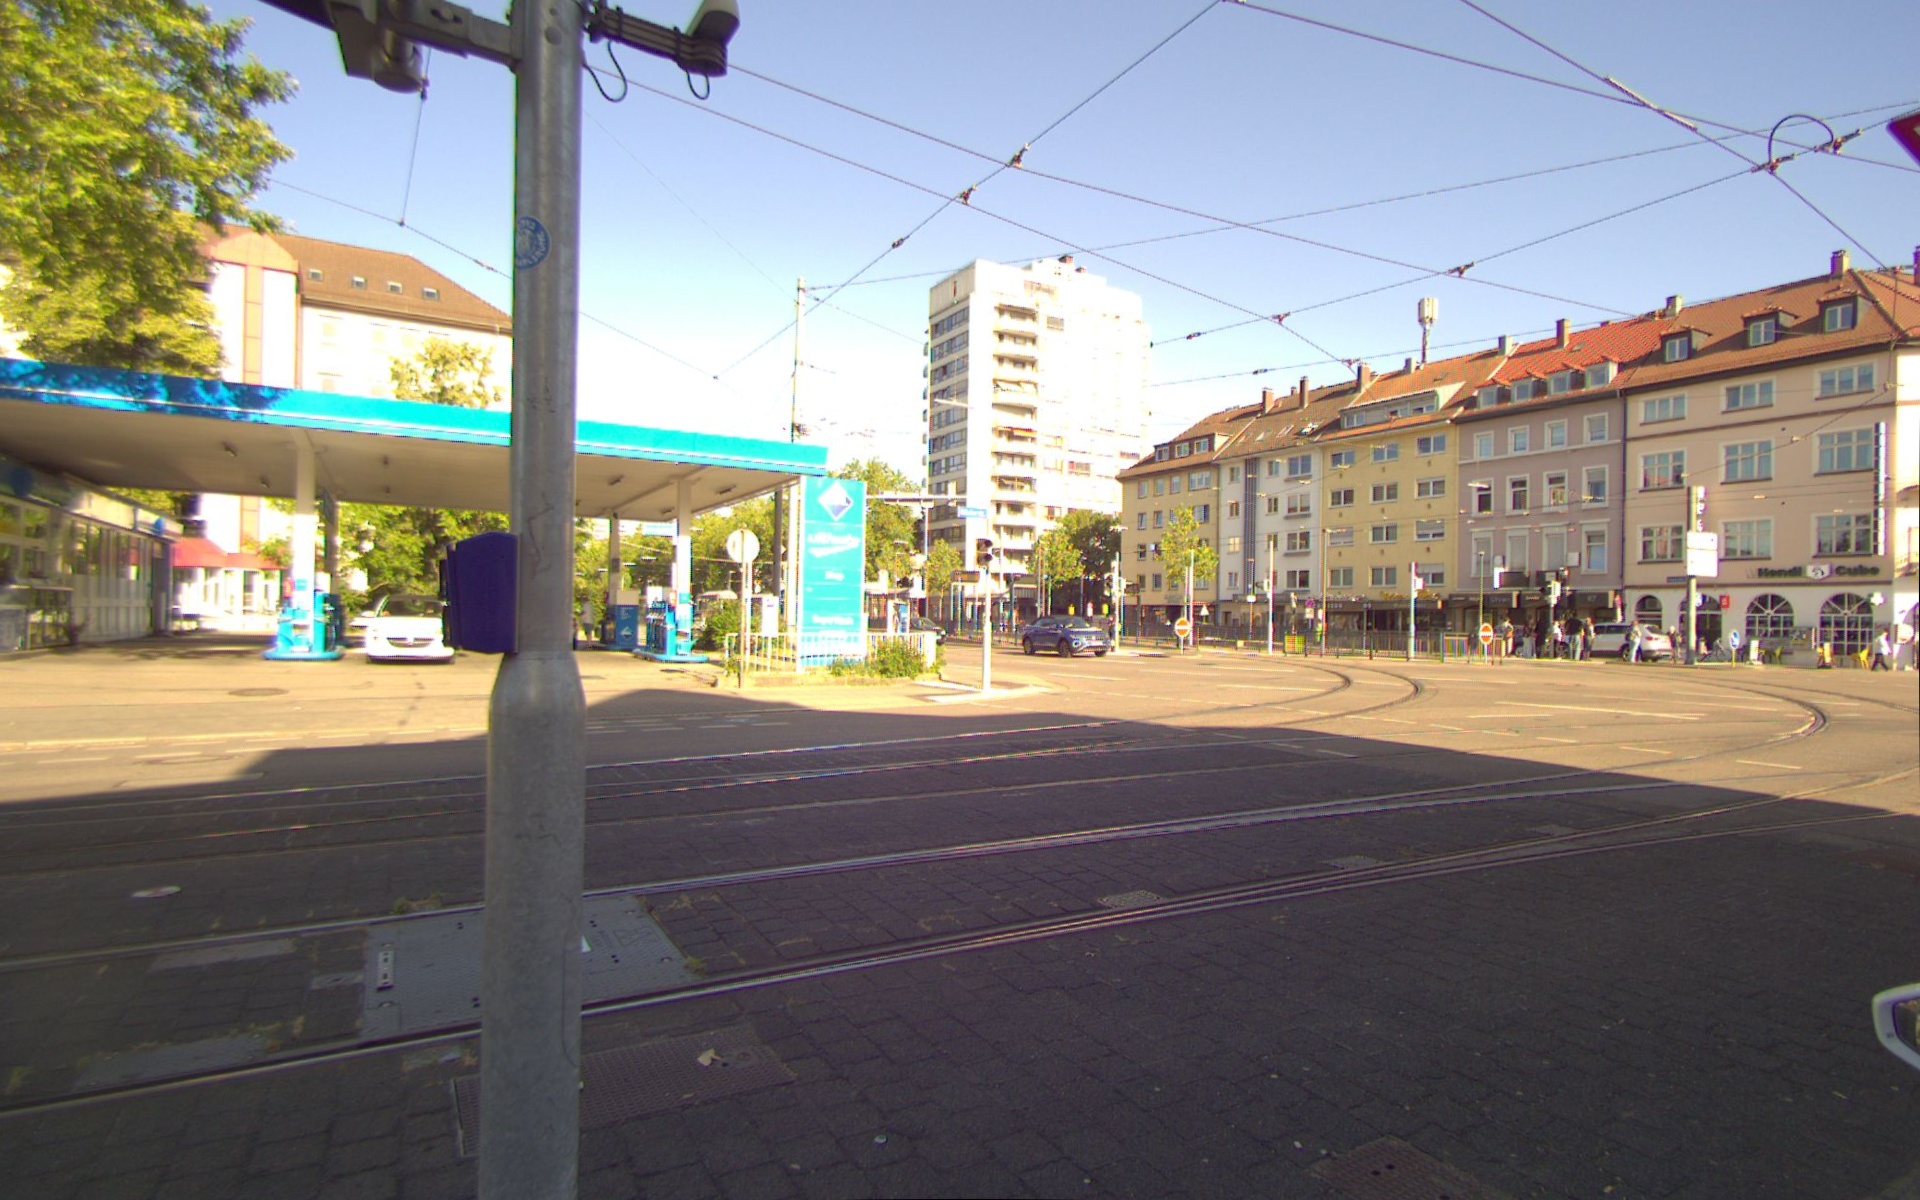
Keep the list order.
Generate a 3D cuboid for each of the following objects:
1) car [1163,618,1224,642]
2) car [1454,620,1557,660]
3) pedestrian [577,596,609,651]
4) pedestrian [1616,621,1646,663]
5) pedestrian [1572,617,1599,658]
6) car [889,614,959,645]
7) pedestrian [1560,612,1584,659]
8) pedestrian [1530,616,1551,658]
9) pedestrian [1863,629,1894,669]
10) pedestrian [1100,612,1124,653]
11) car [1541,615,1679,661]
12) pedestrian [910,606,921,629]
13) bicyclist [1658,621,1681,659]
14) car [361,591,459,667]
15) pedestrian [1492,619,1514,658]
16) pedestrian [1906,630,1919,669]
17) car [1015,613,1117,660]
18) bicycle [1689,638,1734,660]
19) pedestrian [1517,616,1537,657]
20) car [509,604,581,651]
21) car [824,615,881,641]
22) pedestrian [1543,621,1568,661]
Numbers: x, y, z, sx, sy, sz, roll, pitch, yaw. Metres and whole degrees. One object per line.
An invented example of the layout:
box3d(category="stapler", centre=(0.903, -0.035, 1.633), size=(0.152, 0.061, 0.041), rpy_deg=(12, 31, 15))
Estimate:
box3d(category="car", centre=(15.210, 1.944, 65.610), size=(1.680, 1.421, 3.769), rpy_deg=(2, 0, -31))
box3d(category="car", centre=(27.265, 1.955, 50.304), size=(1.797, 1.797, 4.208), rpy_deg=(2, 0, -30))
box3d(category="pedestrian", centre=(-11.753, 0.755, 32.135), size=(0.838, 1.724, 0.644), rpy_deg=(2, -3, -31))
box3d(category="pedestrian", centre=(26.420, 1.634, 39.573), size=(0.805, 1.615, 0.665), rpy_deg=(2, 0, -30))
box3d(category="pedestrian", centre=(25.585, 1.538, 41.090), size=(0.831, 1.670, 0.579), rpy_deg=(2, 0, -30))
box3d(category="car", centre=(-1.842, 1.455, 50.298), size=(1.811, 1.422, 3.965), rpy_deg=(1, -1, -32))
box3d(category="pedestrian", centre=(24.706, 1.439, 40.567), size=(0.669, 1.847, 0.524), rpy_deg=(2, 0, -30))
box3d(category="pedestrian", centre=(23.774, 1.515, 41.132), size=(0.492, 1.670, 0.520), rpy_deg=(2, 0, -30))
box3d(category="pedestrian", centre=(39.480, 2.093, 43.181), size=(0.778, 1.664, 0.569), rpy_deg=(2, 0, -6))
box3d(category="pedestrian", centre=(6.207, 1.325, 41.063), size=(0.753, 1.631, 0.611), rpy_deg=(2, 0, -18))
box3d(category="car", centre=(27.868, 1.593, 43.239), size=(1.818, 1.757, 4.643), rpy_deg=(2, 0, -35))
box3d(category="pedestrian", centre=(-4.161, 1.623, 93.235), size=(0.729, 2.127, 0.880), rpy_deg=(2, 0, -21))
box3d(category="bicyclist", centre=(33.968, 1.911, 48.099), size=(0.606, 1.814, 0.619), rpy_deg=(2, 0, -25))
box3d(category="car", centre=(-12.220, 0.594, 22.350), size=(1.723, 1.455, 3.905), rpy_deg=(2, 1, -29))
box3d(category="pedestrian", centre=(23.853, 1.699, 44.146), size=(0.609, 1.670, 0.581), rpy_deg=(2, 0, -30))
box3d(category="pedestrian", centre=(42.022, 2.183, 44.076), size=(0.492, 1.698, 0.584), rpy_deg=(2, 0, -30))
box3d(category="car", centre=(3.925, 1.336, 37.836), size=(1.808, 1.596, 4.168), rpy_deg=(1, 0, -28))
box3d(category="bicycle", centre=(37.832, 2.467, 50.589), size=(0.603, 0.996, 1.693), rpy_deg=(2, 0, -29))
box3d(category="pedestrian", centre=(23.553, 1.511, 41.717), size=(0.492, 1.670, 0.520), rpy_deg=(2, 0, -30))
box3d(category="car", centre=(-13.522, 0.862, 32.641), size=(1.659, 1.372, 3.559), rpy_deg=(2, 0, -31))
box3d(category="car", centre=(-6.351, 1.654, 59.140), size=(1.877, 1.473, 3.975), rpy_deg=(1, -1, -31))
box3d(category="pedestrian", centre=(25.137, 1.737, 42.401), size=(0.719, 1.670, 0.570), rpy_deg=(2, 0, -30))
